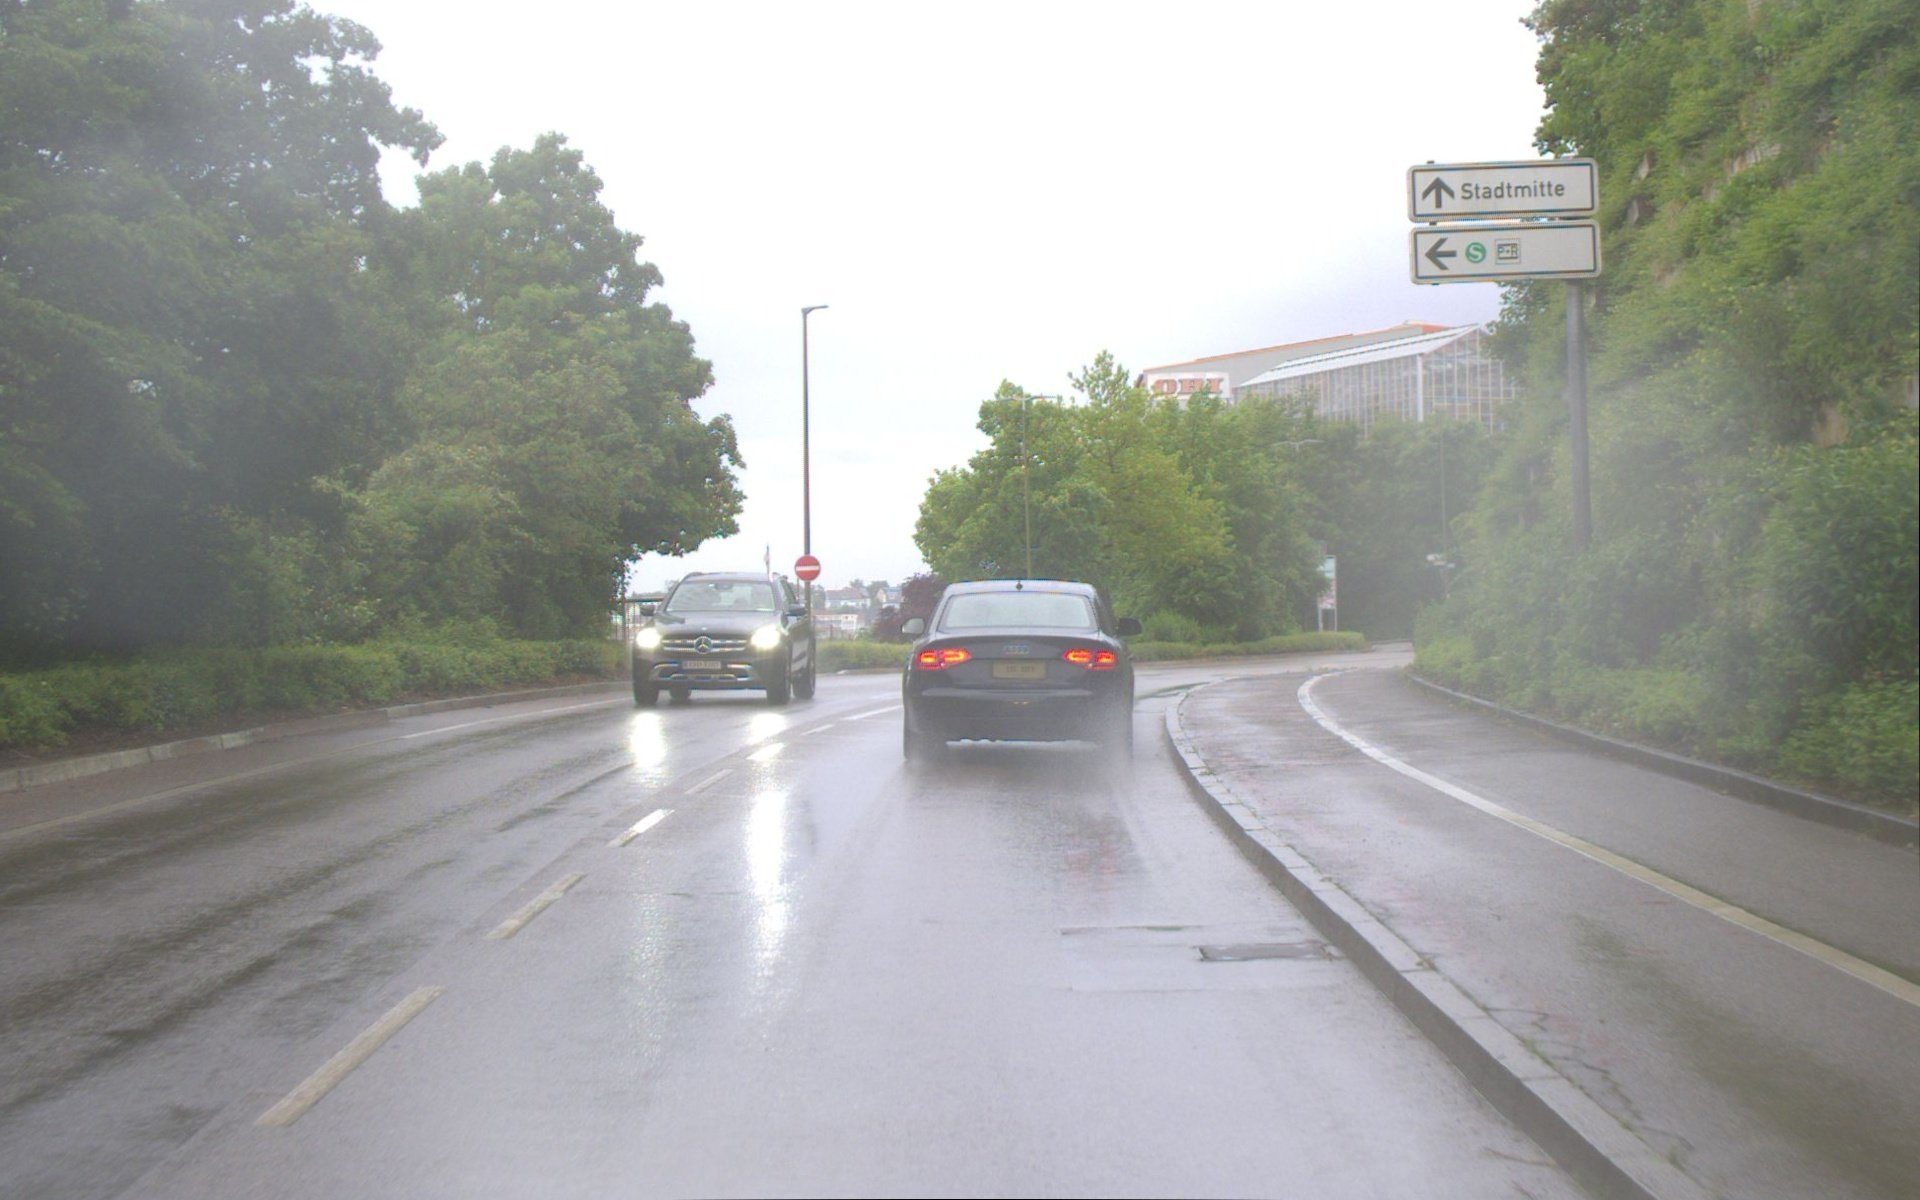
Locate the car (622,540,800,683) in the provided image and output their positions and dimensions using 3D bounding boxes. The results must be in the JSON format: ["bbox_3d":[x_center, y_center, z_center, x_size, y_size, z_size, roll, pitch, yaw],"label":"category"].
[{"bbox_3d":[-3.049,0.109,42.900,1.830,1.700,4.333,0,1,1],"label":"car"}]

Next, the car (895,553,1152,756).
[{"bbox_3d":[0.546,0.370,27.413,1.893,1.487,4.207,0,1,2],"label":"car"}]

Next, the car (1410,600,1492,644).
[{"bbox_3d":[20.250,0.899,141.549,1.997,1.735,3.994,-1,0,29],"label":"car"}]
